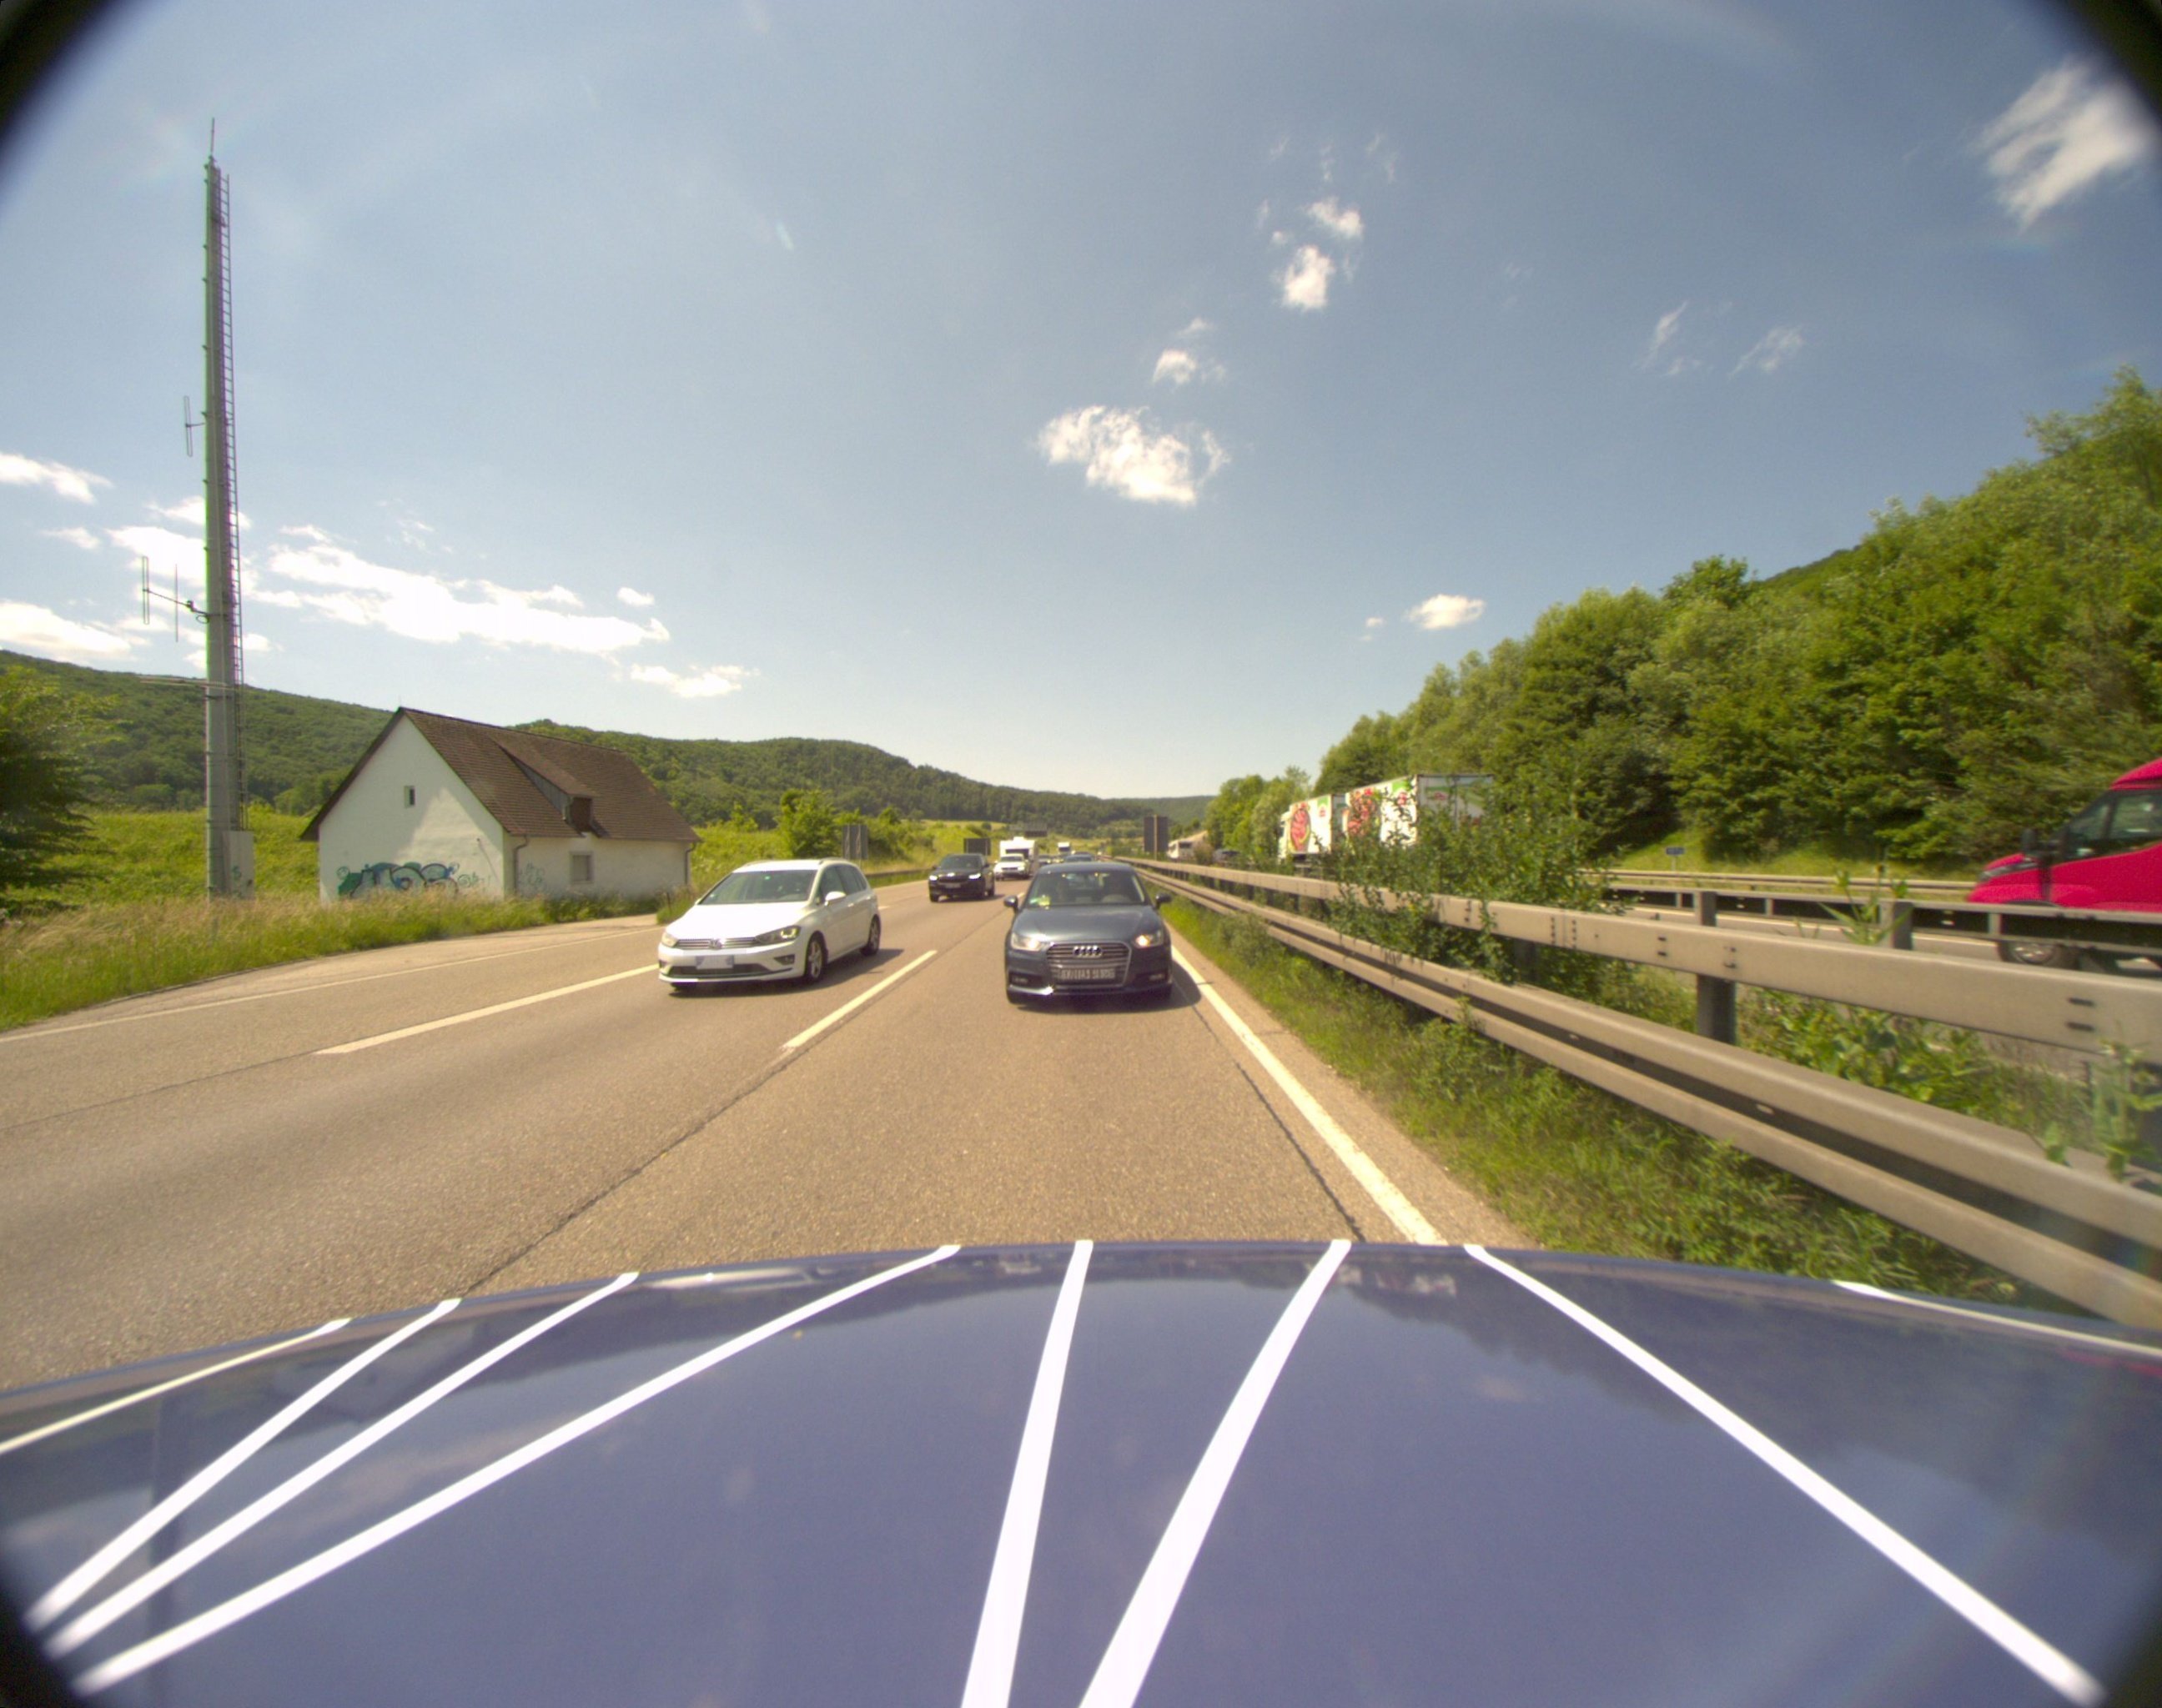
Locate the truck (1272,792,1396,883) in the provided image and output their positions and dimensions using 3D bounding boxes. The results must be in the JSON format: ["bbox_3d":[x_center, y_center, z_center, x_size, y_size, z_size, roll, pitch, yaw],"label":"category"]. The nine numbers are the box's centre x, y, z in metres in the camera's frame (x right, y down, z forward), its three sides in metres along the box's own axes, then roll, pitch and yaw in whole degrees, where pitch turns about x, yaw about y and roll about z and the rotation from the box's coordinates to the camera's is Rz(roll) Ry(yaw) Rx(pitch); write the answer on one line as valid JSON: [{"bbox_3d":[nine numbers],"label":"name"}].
[{"bbox_3d":[12.574,-0.748,38.975,2.876,3.983,10.170,-2,0,0],"label":"truck"}]

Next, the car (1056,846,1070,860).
[{"bbox_3d":[-2.772,-0.123,115.285,1.998,2.002,3.999,-1,1,0],"label":"car"}]

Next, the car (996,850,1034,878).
[{"bbox_3d":[-3.982,0.591,46.434,1.821,1.574,4.000,-2,0,1],"label":"car"}]

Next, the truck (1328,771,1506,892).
[{"bbox_3d":[12.477,-0.778,29.446,2.876,3.957,9.030,0,1,0],"label":"truck"}]

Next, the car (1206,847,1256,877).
[{"bbox_3d":[8.863,0.433,45.337,1.998,1.631,5.031,-2,0,1],"label":"car"}]

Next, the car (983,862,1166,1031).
[{"bbox_3d":[0.072,0.856,8.765,1.591,1.402,4.001,-2,0,4],"label":"car"}]

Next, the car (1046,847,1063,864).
[{"bbox_3d":[-3.270,0.228,93.223,1.999,2.002,3.999,-1,0,-1],"label":"car"}]

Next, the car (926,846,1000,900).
[{"bbox_3d":[-4.130,0.633,27.240,1.893,1.761,4.171,-1,0,2],"label":"car"}]

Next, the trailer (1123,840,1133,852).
[{"bbox_3d":[15.971,-2.730,259.374,2.587,3.982,12.600,-2,0,1],"label":"trailer"}]

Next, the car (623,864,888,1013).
[{"bbox_3d":[-4.128,0.963,10.460,1.777,1.532,4.054,-2,0,1],"label":"car"}]

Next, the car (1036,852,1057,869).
[{"bbox_3d":[-3.286,0.581,72.427,1.711,1.542,4.000,-1,0,1],"label":"car"}]

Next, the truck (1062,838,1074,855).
[{"bbox_3d":[-2.871,-1.644,165.575,2.336,3.623,7.005,-2,0,1],"label":"truck"}]

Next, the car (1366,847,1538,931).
[{"bbox_3d":[7.882,0.656,16.606,1.781,1.589,3.999,-1,0,0],"label":"car"}]

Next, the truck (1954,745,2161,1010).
[{"bbox_3d":[11.603,0.247,5.129,2.301,2.573,7.967,0,0,1],"label":"truck"}]

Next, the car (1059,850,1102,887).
[{"bbox_3d":[0.025,0.607,34.821,1.835,1.587,4.000,-1,0,2],"label":"car"}]

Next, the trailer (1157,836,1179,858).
[{"bbox_3d":[16.790,-1.393,147.261,2.789,3.976,14.158,-1,0,1],"label":"trailer"}]

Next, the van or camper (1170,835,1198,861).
[{"bbox_3d":[13.382,-0.788,99.431,2.597,3.316,7.647,-1,0,0],"label":"van or camper"}]

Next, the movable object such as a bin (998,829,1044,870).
[{"bbox_3d":[-4.098,-0.288,53.262,2.481,2.616,6.708,-2,0,1],"label":"movable object such as a bin"}]
